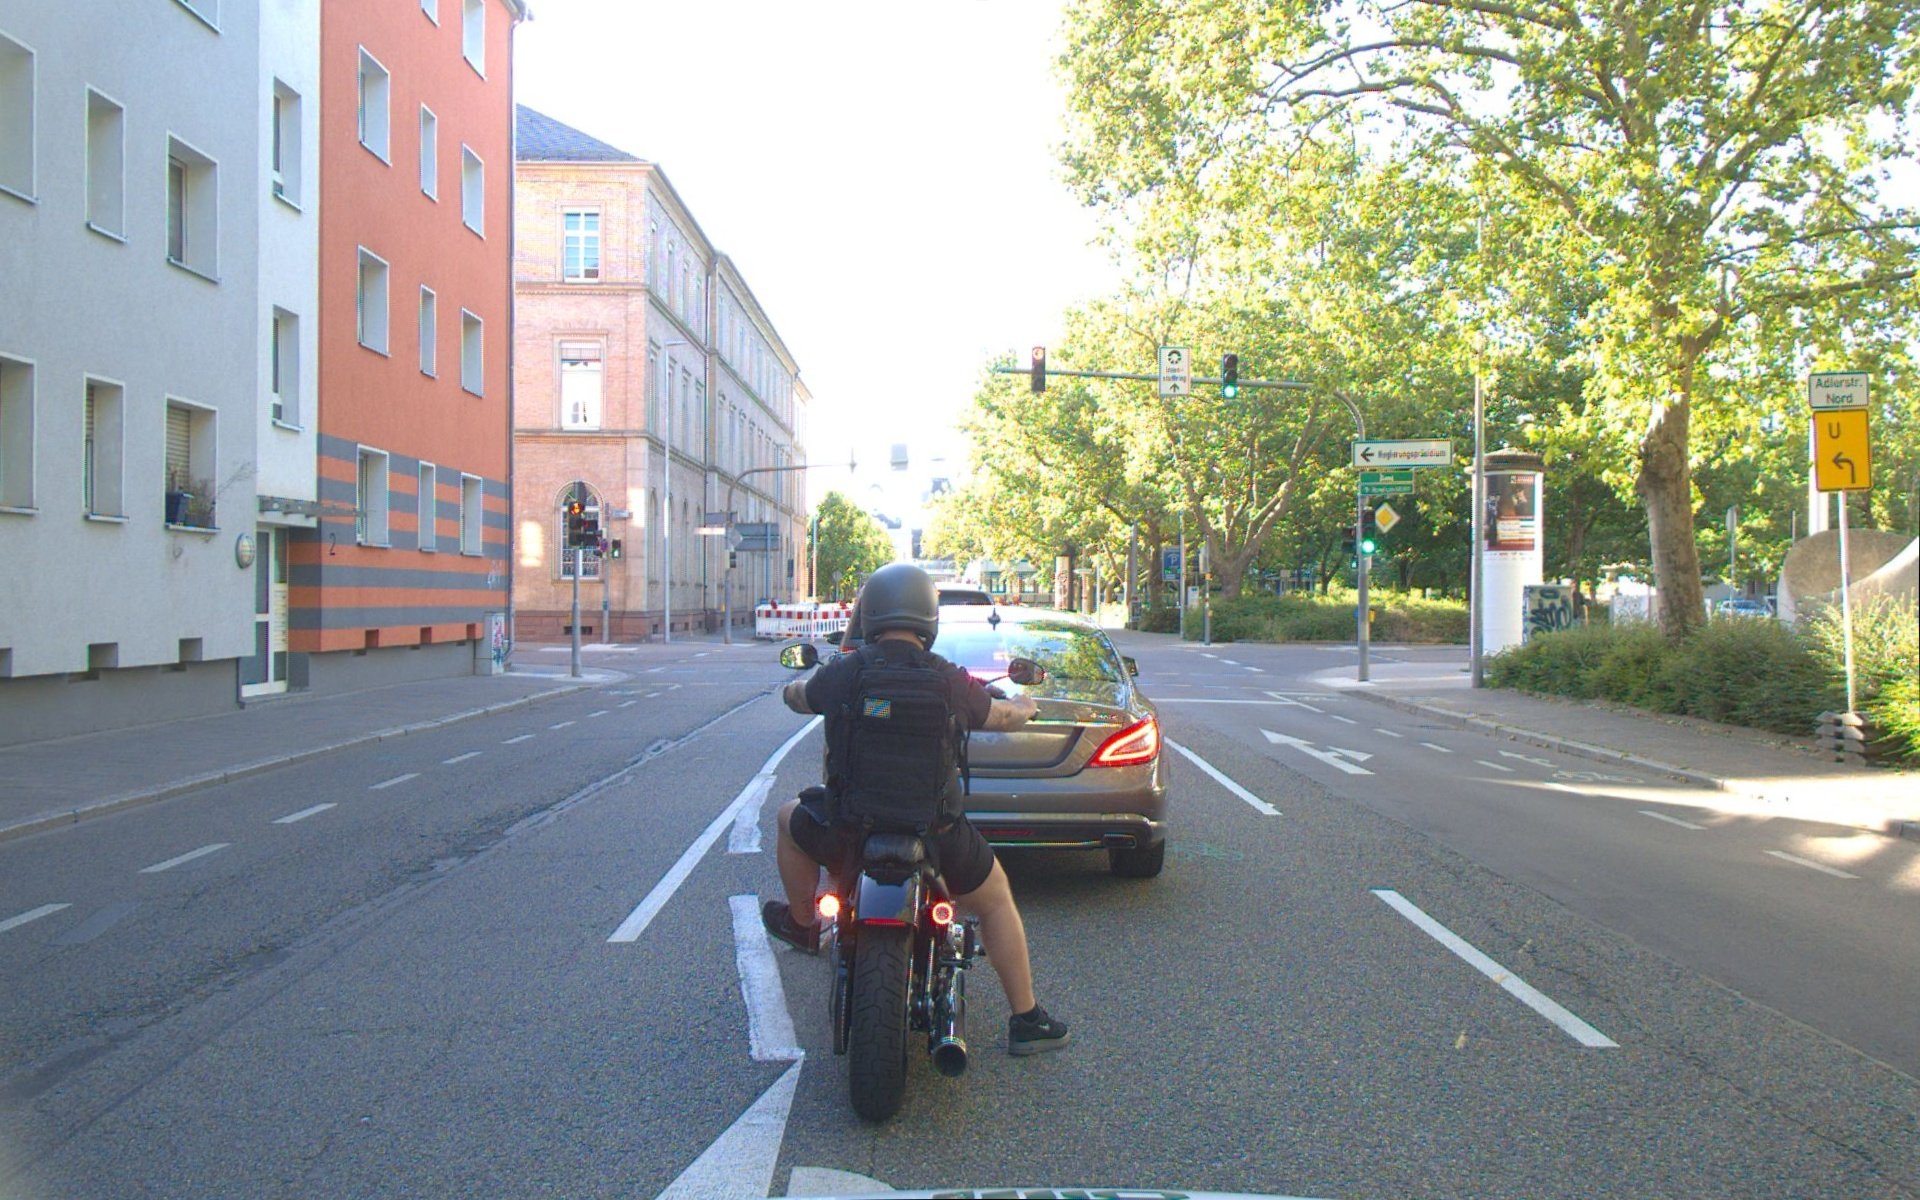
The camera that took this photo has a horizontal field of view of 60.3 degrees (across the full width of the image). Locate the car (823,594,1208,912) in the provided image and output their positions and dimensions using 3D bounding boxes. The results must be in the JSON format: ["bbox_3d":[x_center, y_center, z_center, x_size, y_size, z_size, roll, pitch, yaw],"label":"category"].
[{"bbox_3d":[0.237,0.727,9.655,1.785,1.462,3.805,1,0,-1],"label":"car"}]

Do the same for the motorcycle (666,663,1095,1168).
[{"bbox_3d":[-0.125,0.868,5.482,1.094,1.228,2.213,1,0,5],"label":"motorcycle"}]

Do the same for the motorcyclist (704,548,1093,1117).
[{"bbox_3d":[-0.138,0.657,5.262,1.076,1.593,1.072,1,0,5],"label":"motorcyclist"}]

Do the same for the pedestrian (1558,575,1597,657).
[{"bbox_3d":[13.763,0.351,36.880,0.720,1.809,0.730,1,-1,15],"label":"pedestrian"}]

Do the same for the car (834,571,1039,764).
[{"bbox_3d":[-0.236,0.619,16.927,1.825,1.707,3.999,1,0,-1],"label":"car"}]
